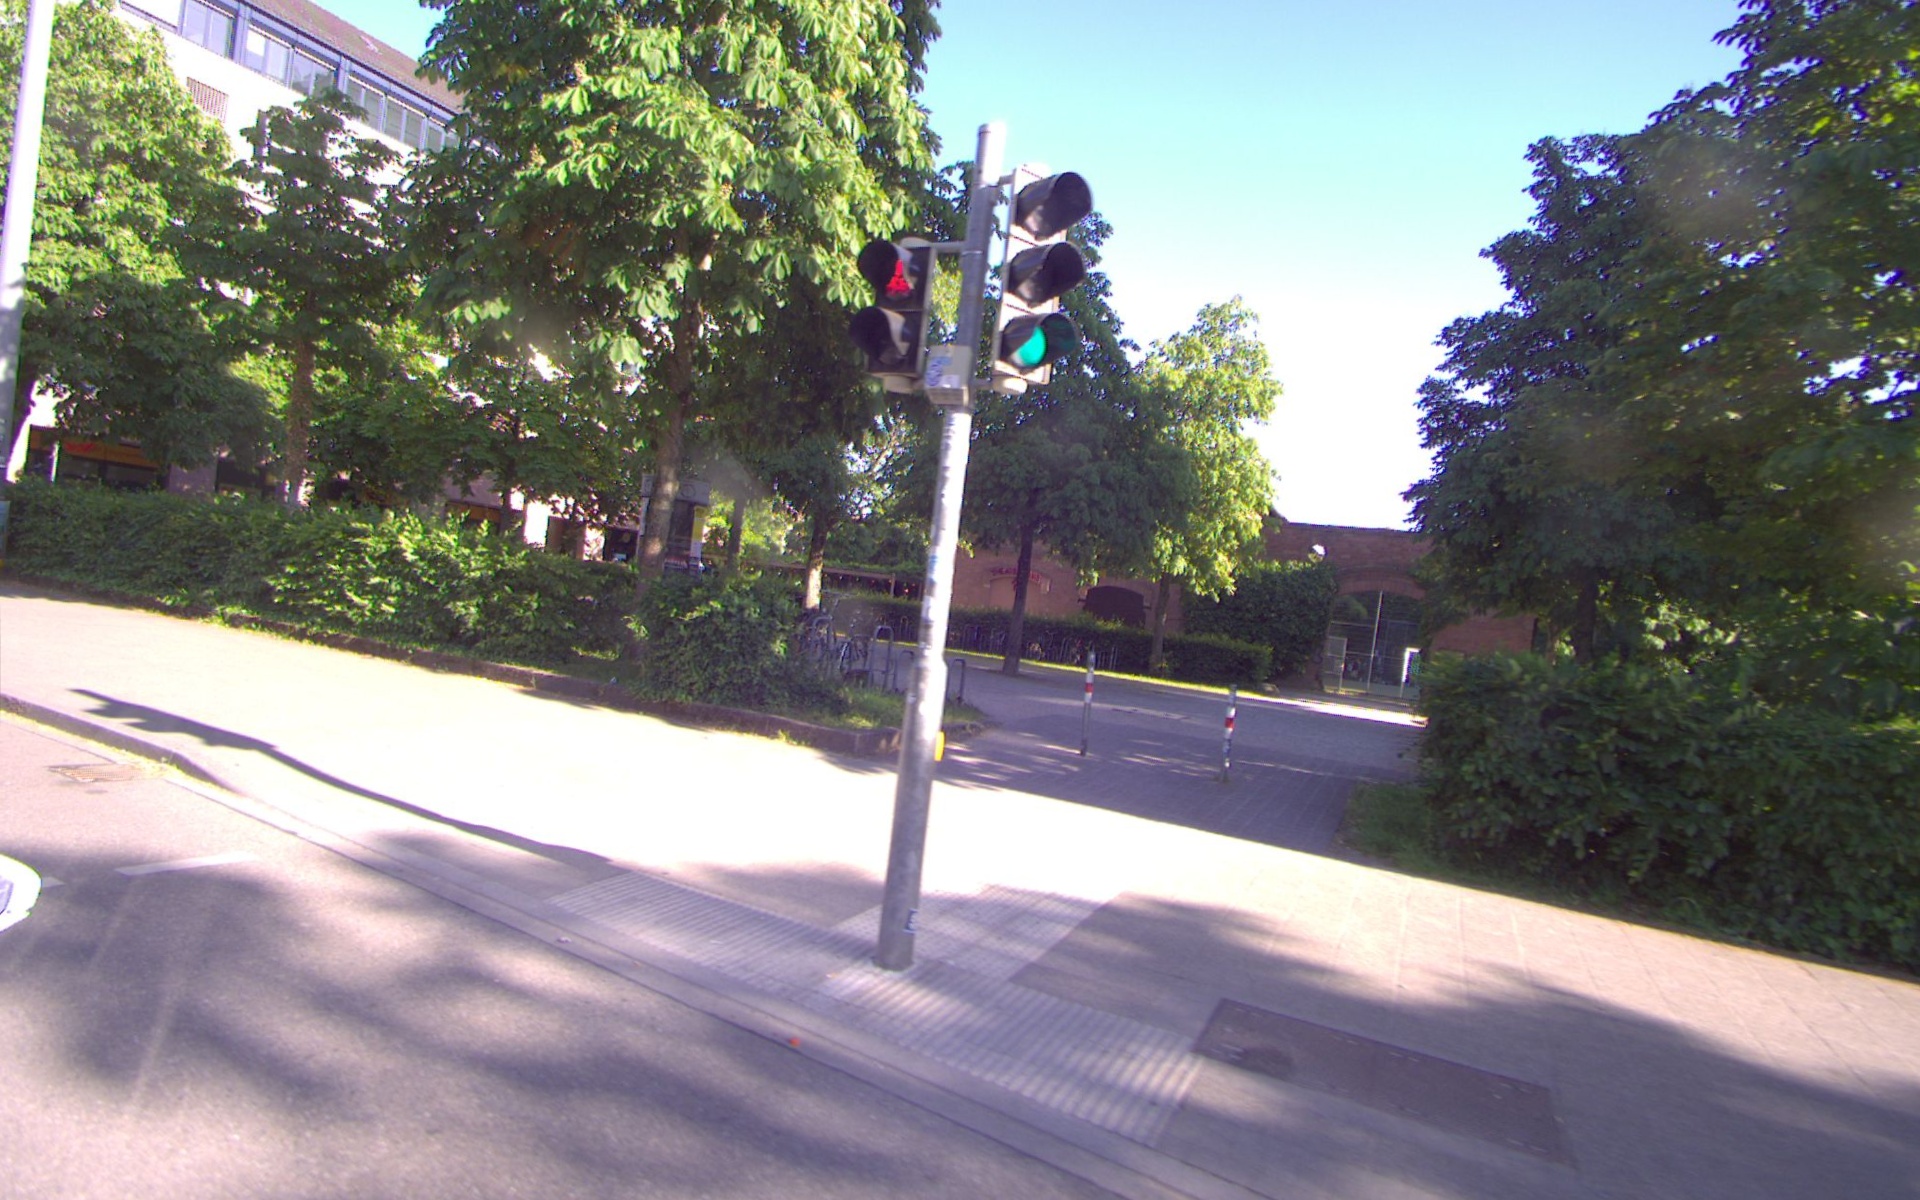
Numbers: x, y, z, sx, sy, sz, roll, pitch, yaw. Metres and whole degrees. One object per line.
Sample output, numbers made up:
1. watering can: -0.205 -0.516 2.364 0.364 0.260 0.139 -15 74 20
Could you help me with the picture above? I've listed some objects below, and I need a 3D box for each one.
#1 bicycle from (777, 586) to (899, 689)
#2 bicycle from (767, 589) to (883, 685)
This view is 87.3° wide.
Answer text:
1. bicycle: -1.714 0.540 14.503 0.564 1.331 1.998 7 1 29
2. bicycle: -2.024 0.568 15.364 0.564 1.331 1.998 7 1 29
